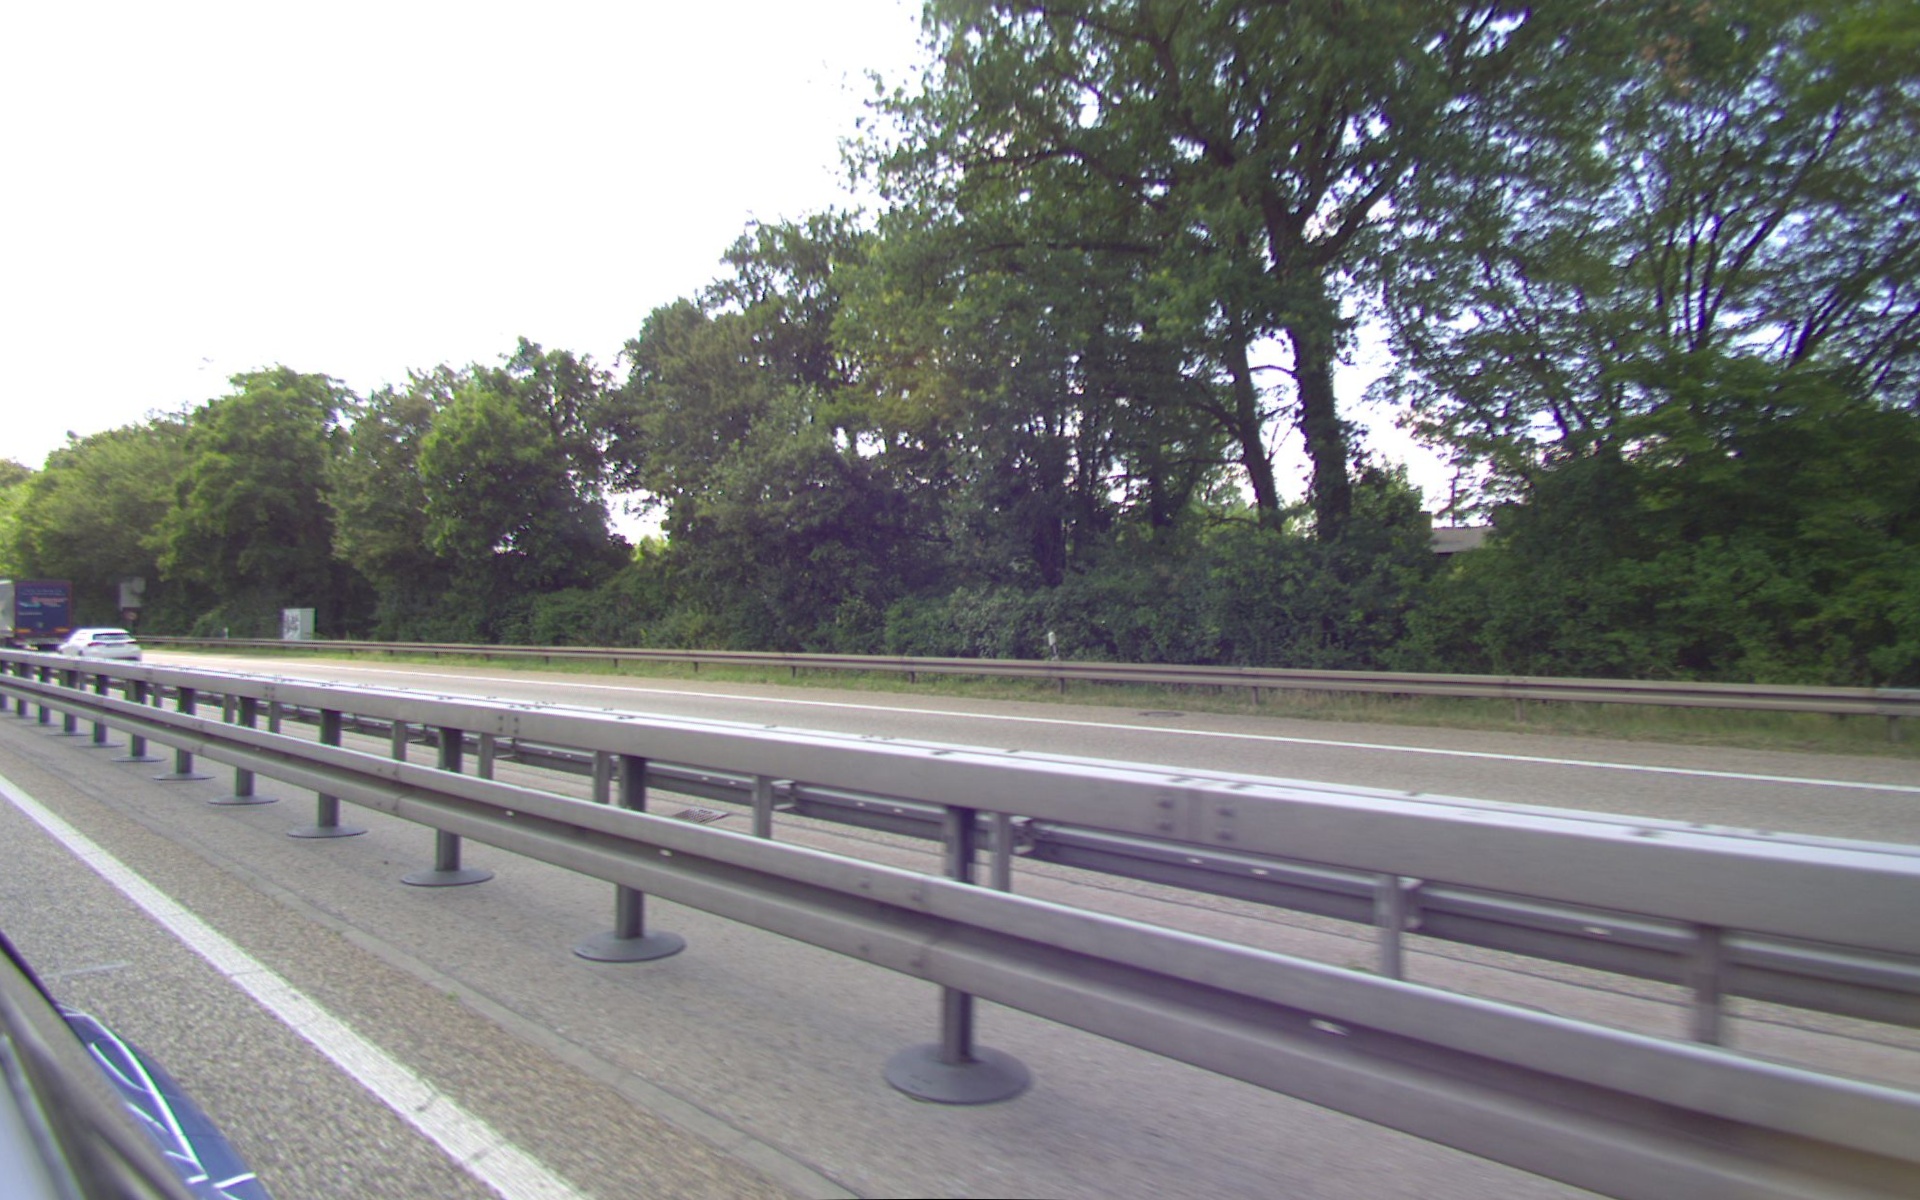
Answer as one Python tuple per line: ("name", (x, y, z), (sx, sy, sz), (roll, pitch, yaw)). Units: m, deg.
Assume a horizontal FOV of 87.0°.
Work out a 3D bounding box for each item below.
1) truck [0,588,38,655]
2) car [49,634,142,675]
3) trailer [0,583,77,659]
("truck", (-61.932, 1.363, 64.801), (6.122, 4.128, 3.342), (-1, 0, 39))
("car", (-33.047, 2.036, 38.642), (4.541, 1.442, 1.663), (-1, 0, 36))
("trailer", (-56.395, 1.197, 60.390), (12.964, 4.110, 3.371), (-1, 0, 39))
